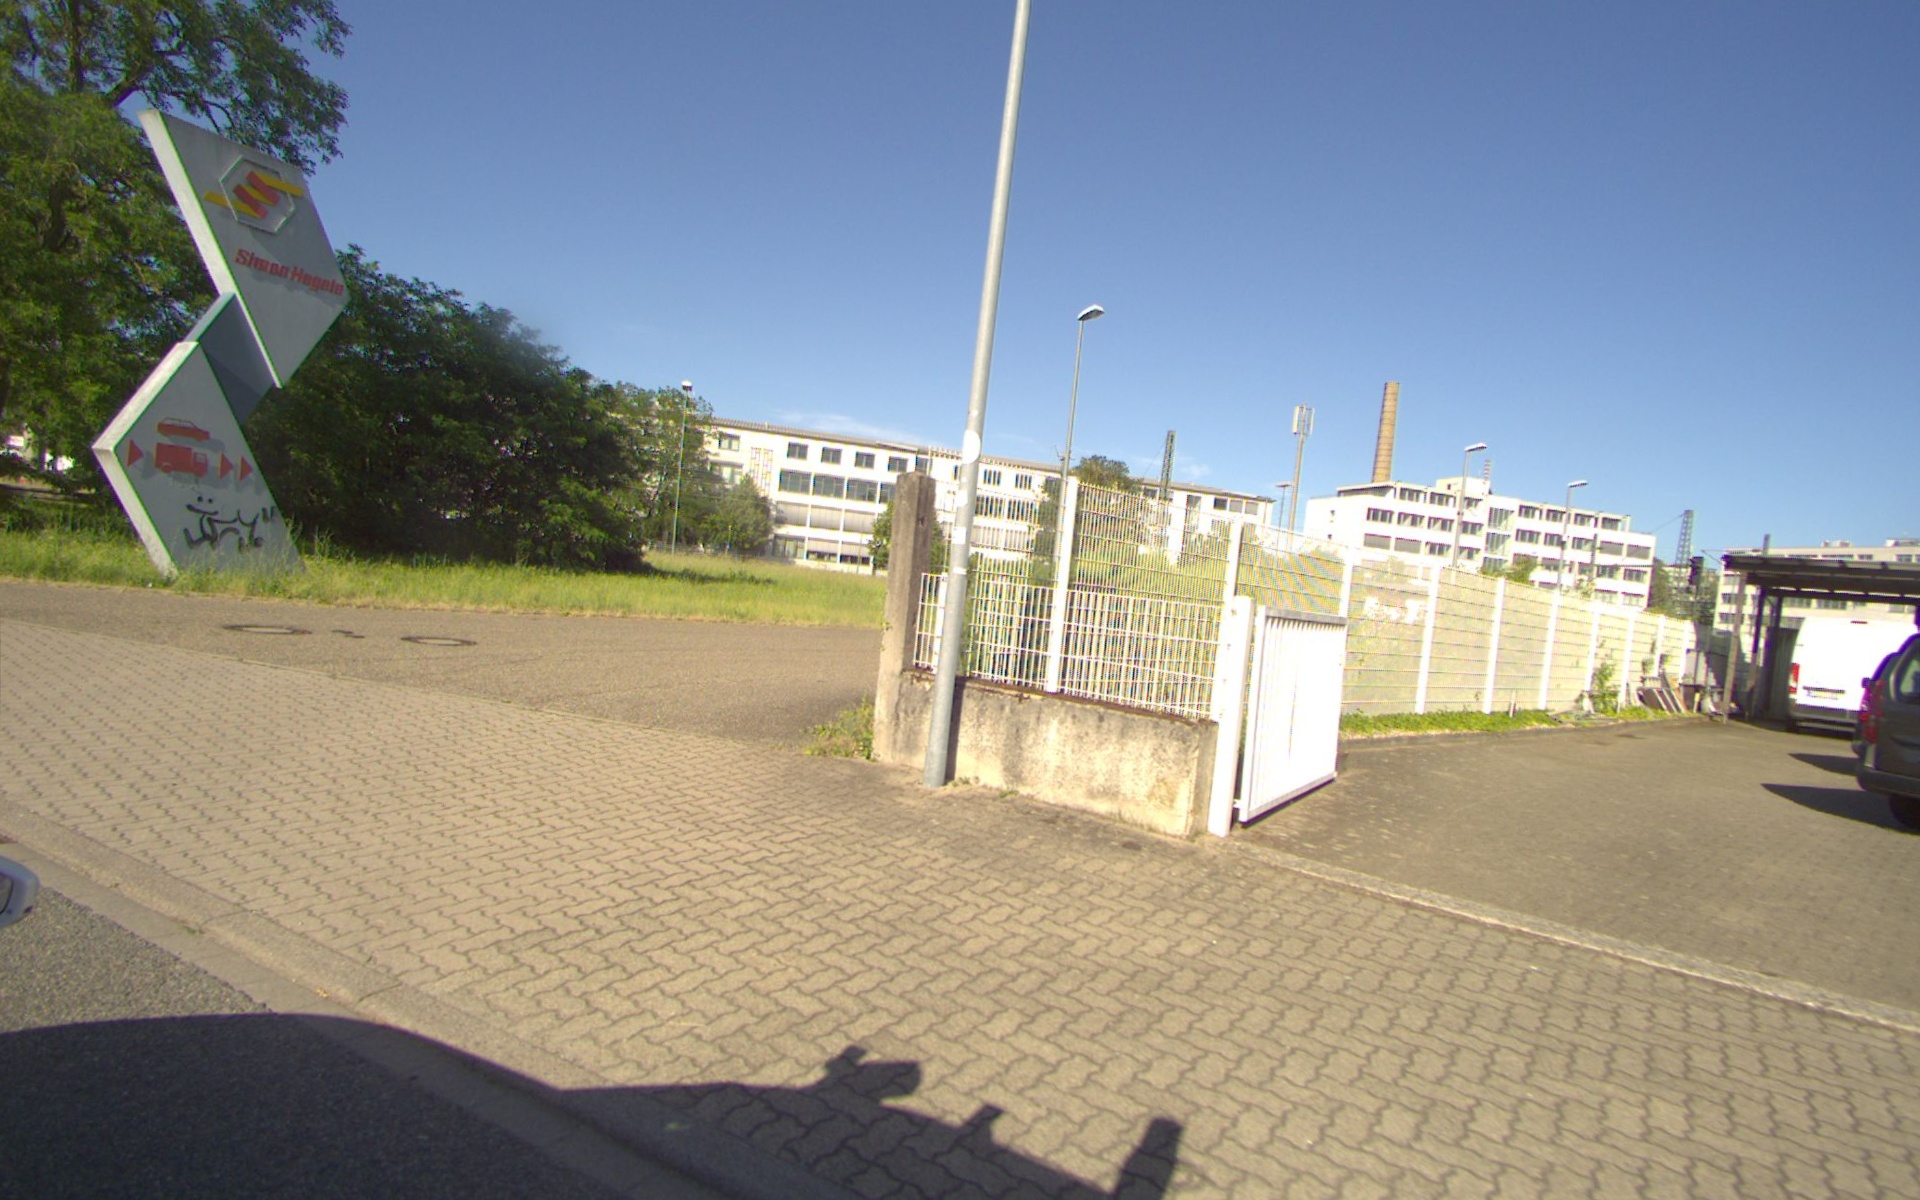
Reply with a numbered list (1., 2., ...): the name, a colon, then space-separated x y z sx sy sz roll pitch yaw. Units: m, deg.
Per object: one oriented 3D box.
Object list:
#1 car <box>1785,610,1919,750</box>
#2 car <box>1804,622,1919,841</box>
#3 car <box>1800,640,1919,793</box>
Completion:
1. car: 19.547 1.688 22.114 1.812 2.575 5.006 8 3 41
2. car: 10.324 1.361 8.784 4.289 1.801 1.996 6 2 -8
3. car: 14.198 1.723 13.472 4.289 1.801 1.996 6 2 -8
